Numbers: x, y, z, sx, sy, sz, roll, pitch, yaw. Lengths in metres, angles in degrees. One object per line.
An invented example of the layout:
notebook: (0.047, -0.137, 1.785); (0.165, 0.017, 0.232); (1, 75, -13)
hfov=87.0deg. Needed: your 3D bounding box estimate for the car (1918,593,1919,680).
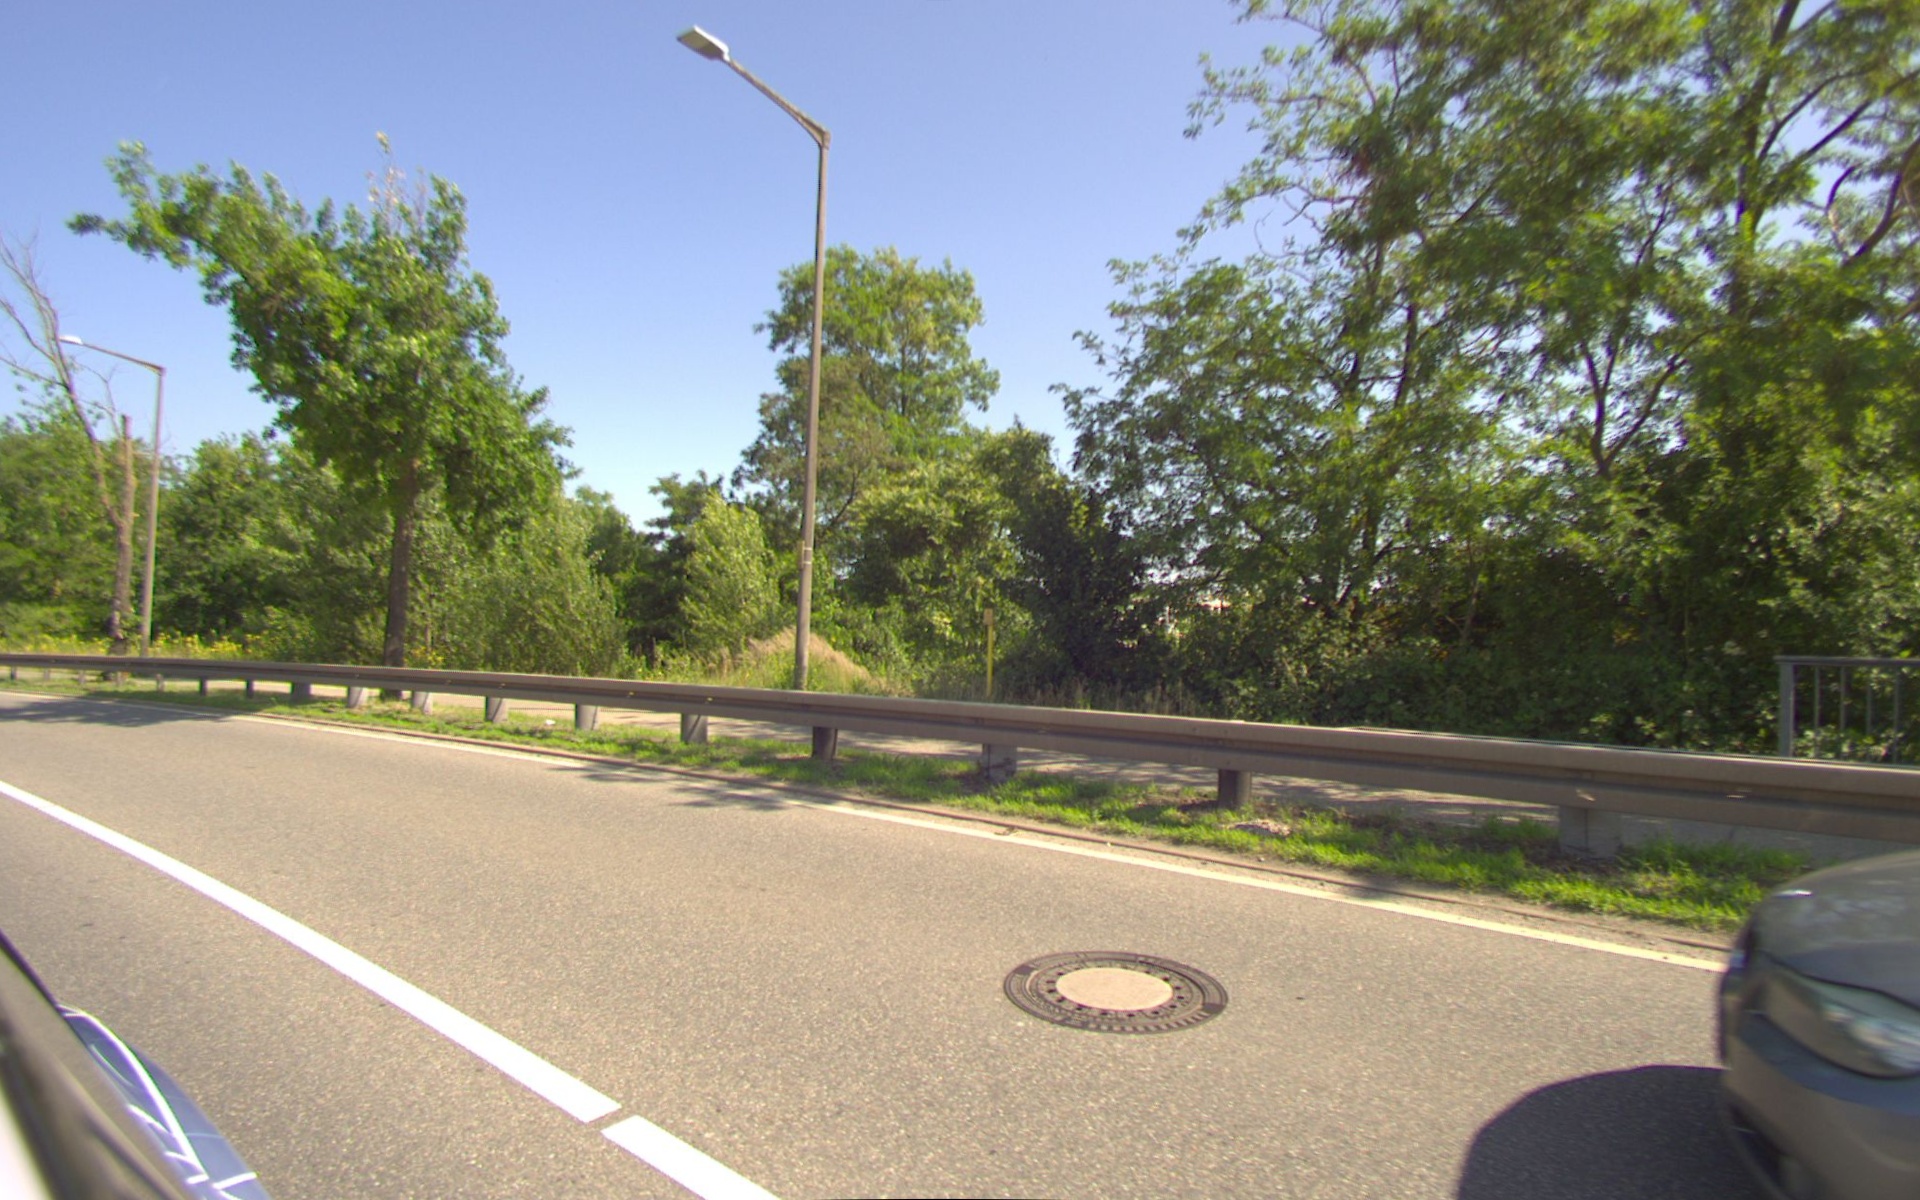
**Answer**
car: (3.794, 0.650, 0.918); (4.182, 1.409, 1.698); (-1, -1, 43)
